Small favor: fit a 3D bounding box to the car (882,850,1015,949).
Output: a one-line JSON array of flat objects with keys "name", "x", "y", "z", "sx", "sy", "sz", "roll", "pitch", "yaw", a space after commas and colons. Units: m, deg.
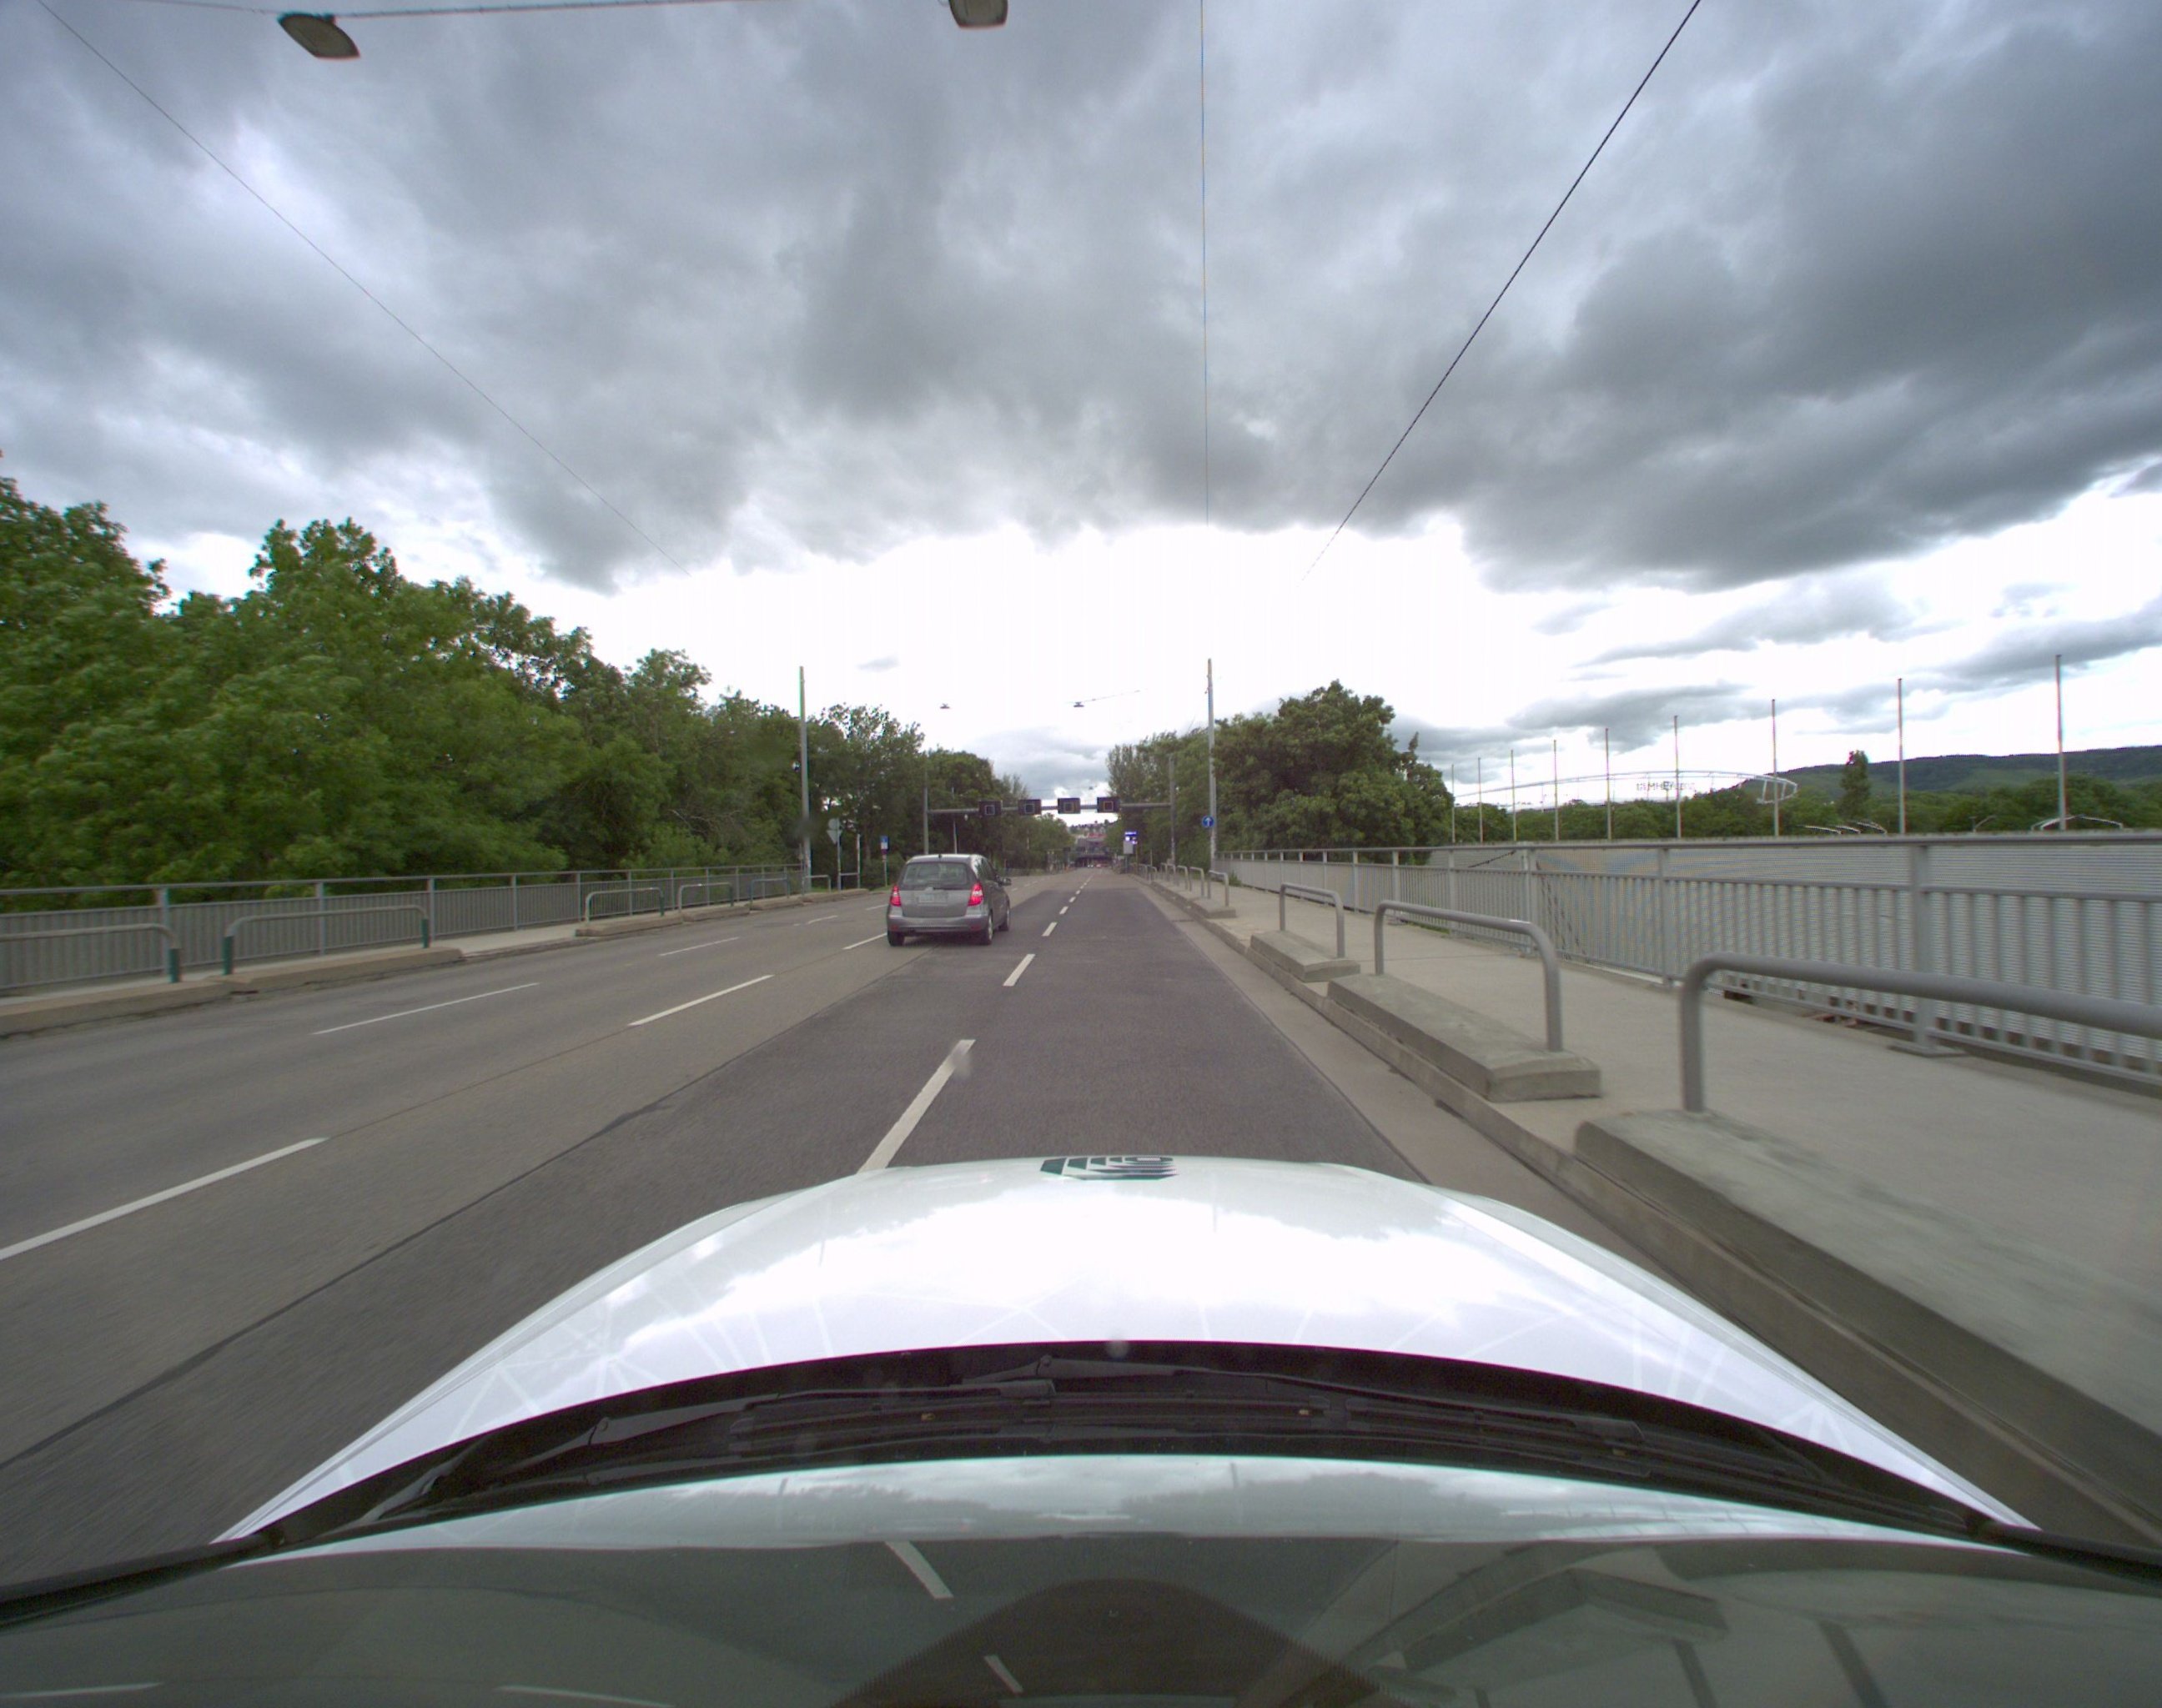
[{"name": "car", "x": -2.319, "y": 0.726, "z": 15.201, "sx": 1.739, "sy": 1.550, "sz": 3.872, "roll": -1, "pitch": 1, "yaw": 1}]
